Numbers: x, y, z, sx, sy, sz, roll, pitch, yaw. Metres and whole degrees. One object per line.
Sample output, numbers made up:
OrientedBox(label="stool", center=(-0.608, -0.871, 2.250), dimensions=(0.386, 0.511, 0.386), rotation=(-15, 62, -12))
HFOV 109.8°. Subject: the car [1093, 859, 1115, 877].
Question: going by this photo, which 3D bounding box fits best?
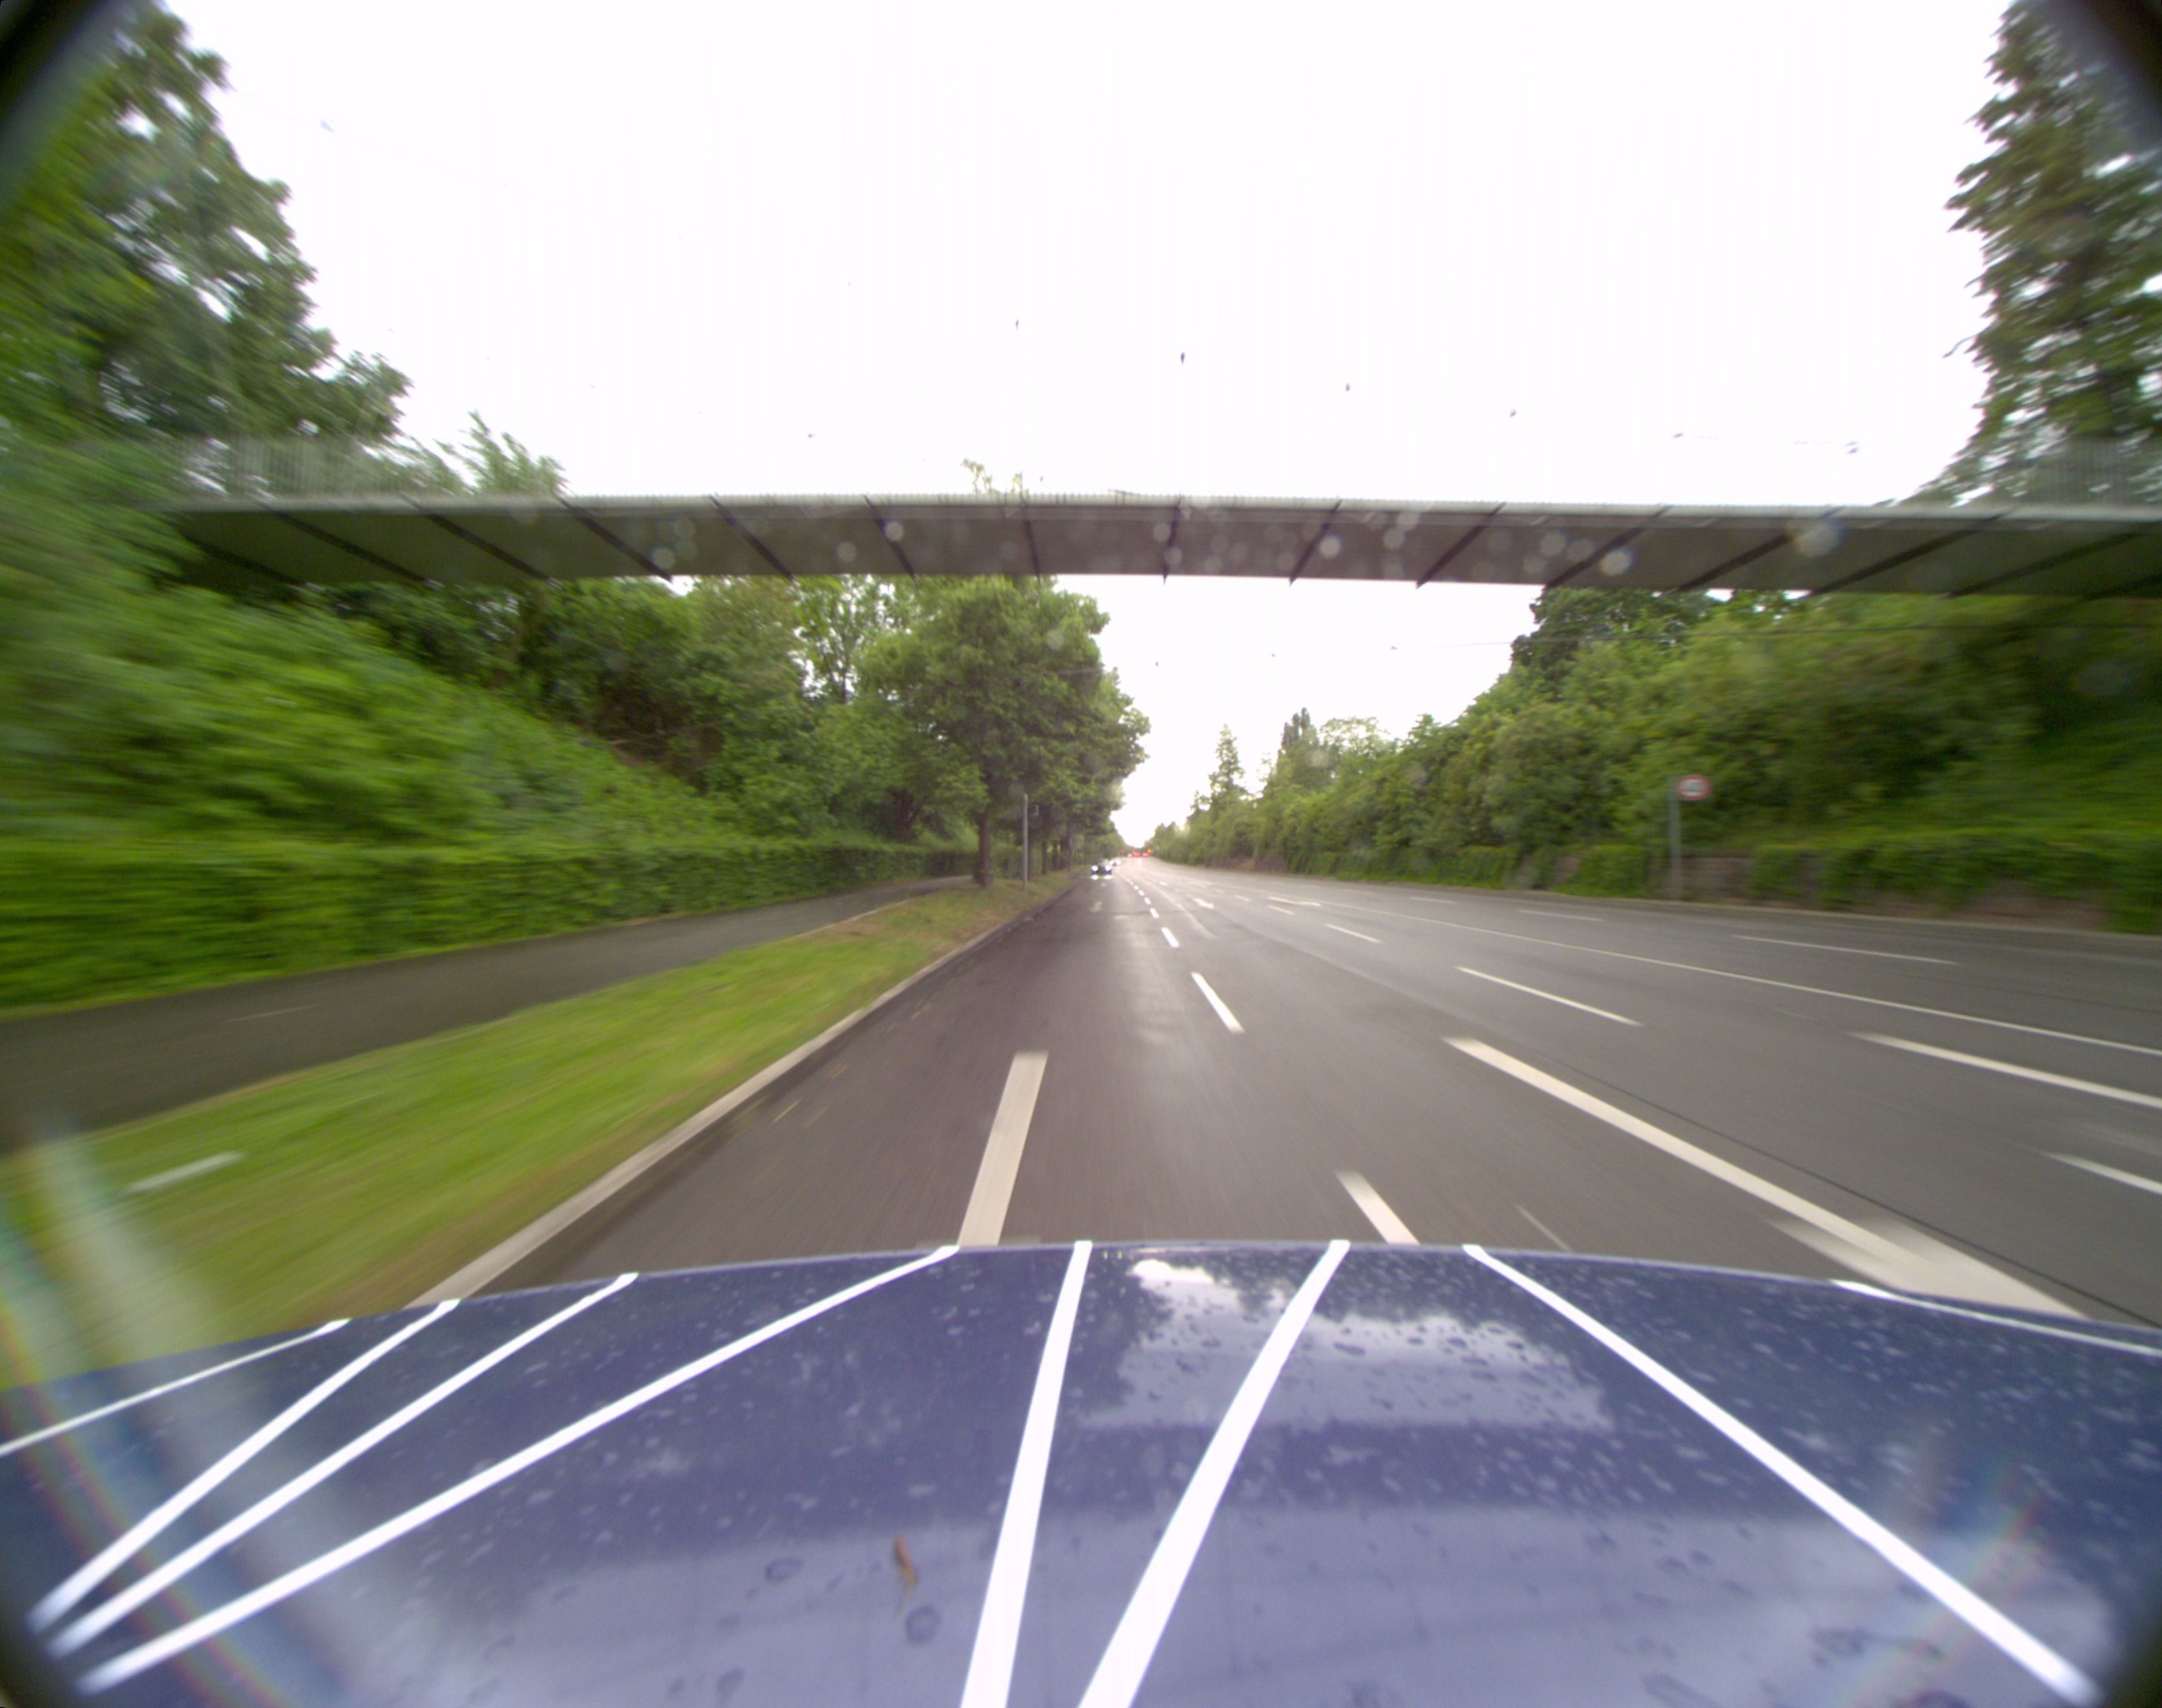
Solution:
OrientedBox(label="car", center=(2.103, 1.242, 68.862), dimensions=(1.824, 1.547, 4.000), rotation=(-1, 0, 3))
